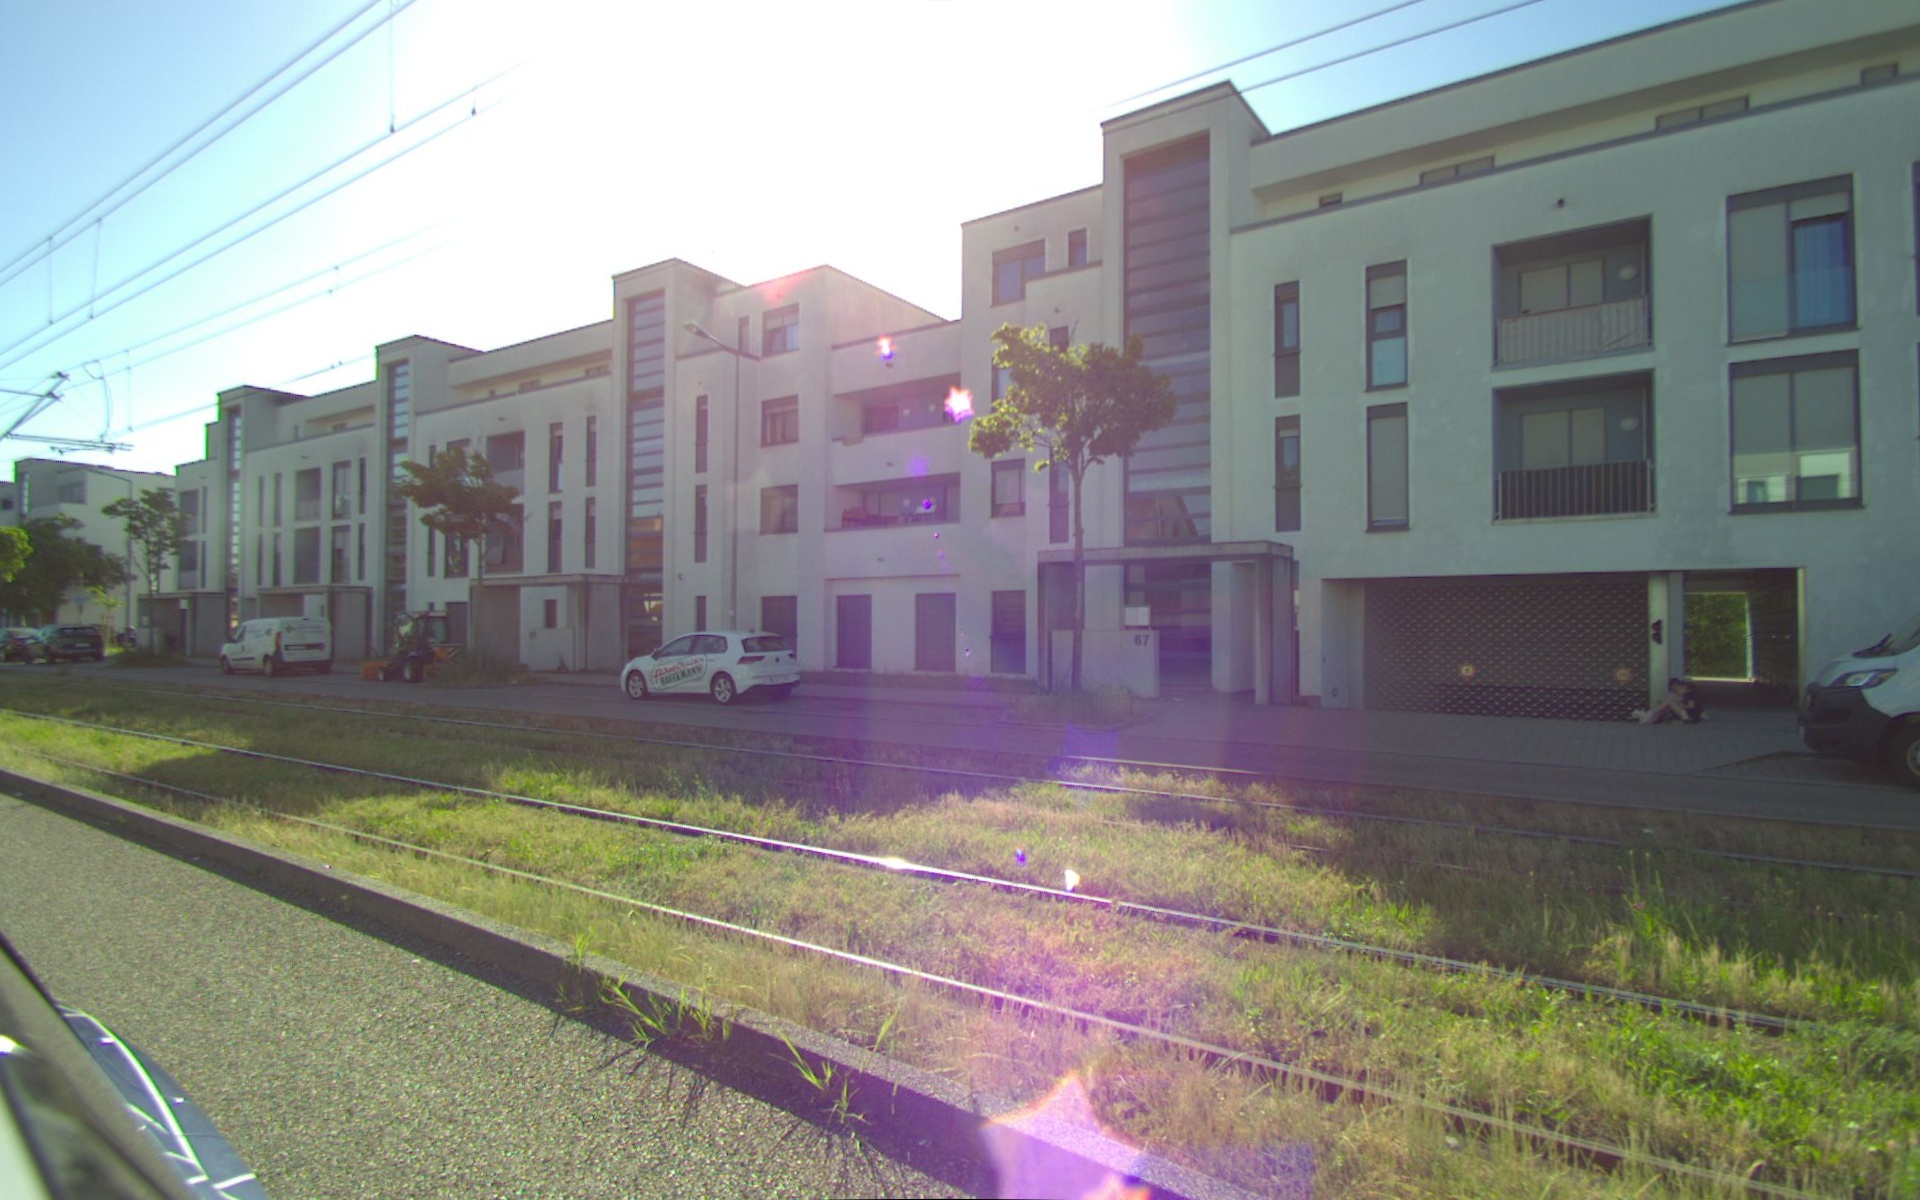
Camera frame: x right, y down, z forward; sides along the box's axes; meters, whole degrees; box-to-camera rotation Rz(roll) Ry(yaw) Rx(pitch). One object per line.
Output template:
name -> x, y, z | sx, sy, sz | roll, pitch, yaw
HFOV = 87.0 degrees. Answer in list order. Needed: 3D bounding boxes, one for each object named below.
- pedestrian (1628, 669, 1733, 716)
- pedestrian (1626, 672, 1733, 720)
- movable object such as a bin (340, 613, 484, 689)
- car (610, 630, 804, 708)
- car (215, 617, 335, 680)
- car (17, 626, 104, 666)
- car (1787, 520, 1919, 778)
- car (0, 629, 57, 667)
pedestrian -> 11.091, 1.417, 15.599 | 1.284, 0.658, 0.360 | -2, -1, 39
pedestrian -> 10.871, 1.438, 15.306 | 1.284, 0.658, 0.360 | -2, -1, 39
movable object such as a bin -> -15.303, 1.379, 28.214 | 4.144, 1.952, 1.748 | -2, -1, 33
car -> -5.324, 1.384, 21.102 | 4.144, 1.443, 1.505 | -2, -1, 33
car -> -22.127, 1.529, 32.650 | 4.144, 1.884, 1.748 | -2, -1, 33
car -> -38.606, 1.968, 43.400 | 4.144, 1.611, 1.748 | -2, -1, 33
car -> 11.360, 0.412, 9.337 | 5.579, 2.463, 2.121 | -2, -1, 36
car -> -43.332, 2.186, 46.457 | 4.144, 1.611, 1.748 | -2, -1, 33
